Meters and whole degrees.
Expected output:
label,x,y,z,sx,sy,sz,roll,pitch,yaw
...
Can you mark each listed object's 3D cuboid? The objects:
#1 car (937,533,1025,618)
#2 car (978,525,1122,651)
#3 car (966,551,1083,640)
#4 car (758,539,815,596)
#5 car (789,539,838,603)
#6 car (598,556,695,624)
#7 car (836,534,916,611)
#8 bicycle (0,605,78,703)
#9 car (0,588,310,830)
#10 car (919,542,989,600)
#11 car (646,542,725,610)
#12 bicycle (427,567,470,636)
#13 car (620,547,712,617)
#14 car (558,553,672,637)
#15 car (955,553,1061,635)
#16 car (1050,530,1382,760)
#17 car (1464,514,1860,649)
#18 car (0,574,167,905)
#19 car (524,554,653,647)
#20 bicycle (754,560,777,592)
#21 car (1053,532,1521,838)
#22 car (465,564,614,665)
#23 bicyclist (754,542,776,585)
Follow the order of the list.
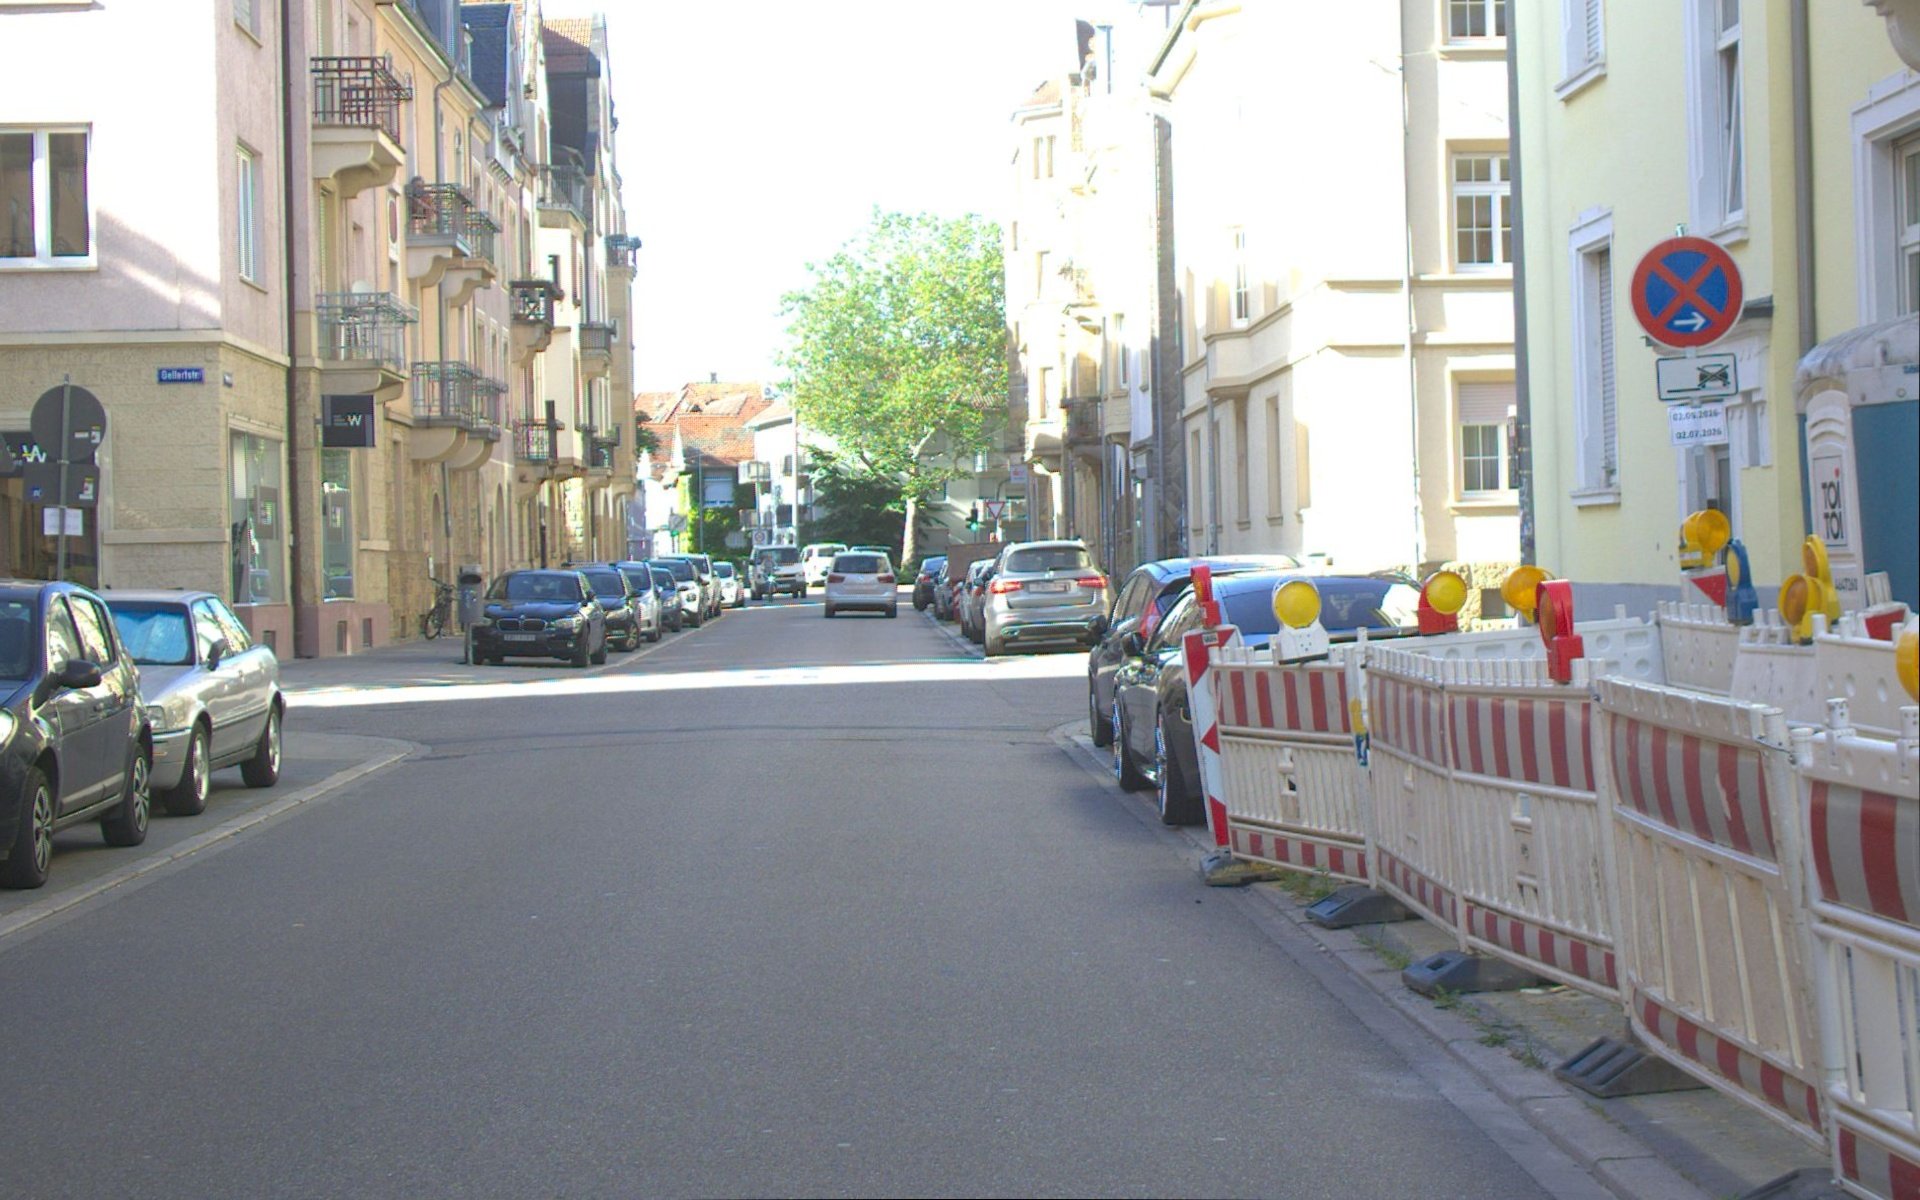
label,x,y,z,sx,sy,sz,roll,pitch,yaw
car,0.460,-0.539,79.710,1.838,1.781,4.029,-3,-1,-1
car,1.284,-0.155,50.664,1.913,1.639,4.773,-4,0,0
car,1.117,-0.058,61.533,1.838,1.426,4.029,-4,0,-1
car,-6.269,-1.164,124.716,2.003,1.993,4.488,-1,0,-3
car,-6.249,-1.234,147.050,1.838,2.525,4.176,-4,-1,-1
car,-7.069,-0.218,77.879,1.978,1.477,4.328,-1,0,-3
car,-2.200,-0.703,89.192,2.003,1.907,4.487,-1,0,-2
bicycle,-11.916,0.689,42.399,1.898,1.131,0.526,-3,2,-4
car,-5.612,0.657,22.938,1.762,1.373,4.479,-1,1,-1
car,-0.196,-0.818,98.532,1.838,1.426,4.029,-4,-1,-1
car,-7.458,-0.648,93.748,2.003,1.782,4.488,-1,0,-3
bicycle,-9.921,0.018,66.677,0.541,1.297,1.867,-2,1,-1
car,-7.041,-0.430,82.677,2.003,1.613,4.488,-1,0,-3
car,-6.843,-0.102,68.588,2.003,1.613,4.488,-1,0,-3
car,0.897,-0.090,66.921,1.838,1.426,4.029,-4,0,-1
car,1.860,0.284,26.232,1.762,1.465,4.085,-5,1,-5
car,8.947,-0.230,43.993,4.536,1.463,1.829,-3,-1,-8
car,-5.393,0.665,17.859,1.762,1.497,4.001,-2,1,-3
car,-6.605,0.005,61.442,2.003,1.577,4.488,-1,0,-3
bicycle,-6.569,-0.808,116.191,0.662,1.015,2.066,-4,0,-3
car,1.811,0.412,20.802,1.801,1.465,5.113,-5,1,-5
car,-6.187,0.204,50.978,1.679,1.421,4.274,-1,0,0
bicyclist,-6.589,-1.231,116.202,0.662,1.381,0.754,-4,0,-3
